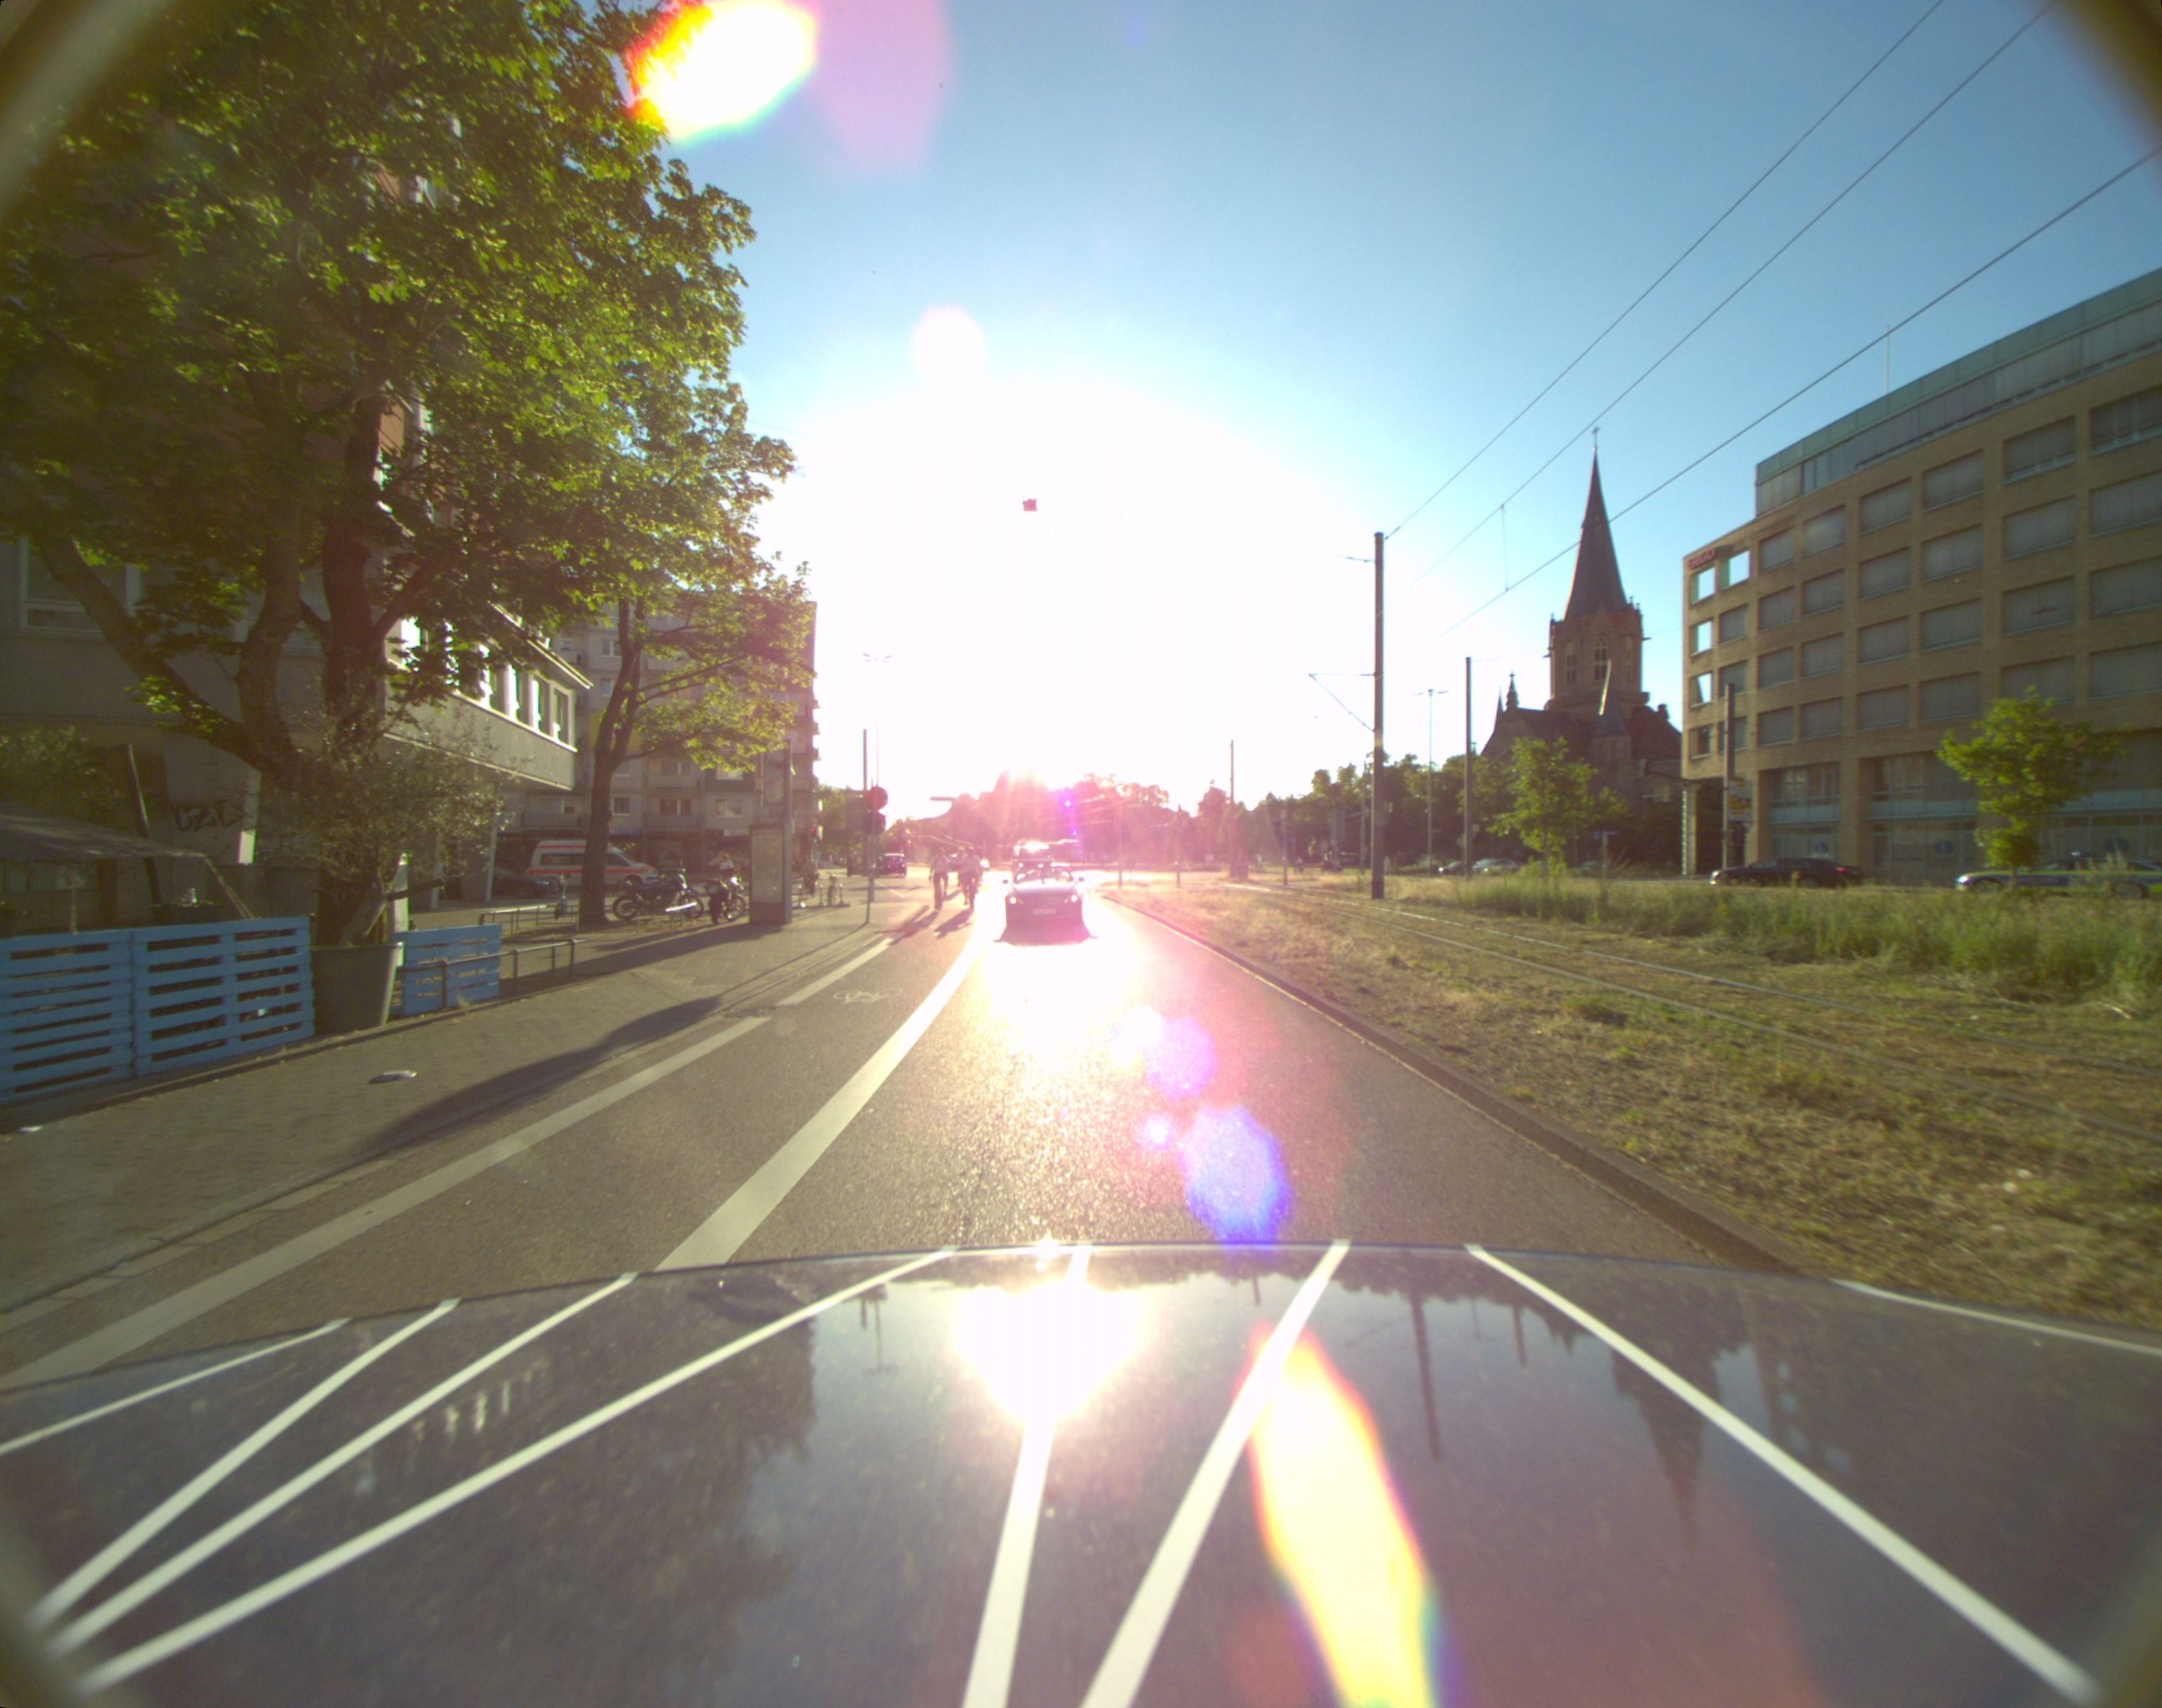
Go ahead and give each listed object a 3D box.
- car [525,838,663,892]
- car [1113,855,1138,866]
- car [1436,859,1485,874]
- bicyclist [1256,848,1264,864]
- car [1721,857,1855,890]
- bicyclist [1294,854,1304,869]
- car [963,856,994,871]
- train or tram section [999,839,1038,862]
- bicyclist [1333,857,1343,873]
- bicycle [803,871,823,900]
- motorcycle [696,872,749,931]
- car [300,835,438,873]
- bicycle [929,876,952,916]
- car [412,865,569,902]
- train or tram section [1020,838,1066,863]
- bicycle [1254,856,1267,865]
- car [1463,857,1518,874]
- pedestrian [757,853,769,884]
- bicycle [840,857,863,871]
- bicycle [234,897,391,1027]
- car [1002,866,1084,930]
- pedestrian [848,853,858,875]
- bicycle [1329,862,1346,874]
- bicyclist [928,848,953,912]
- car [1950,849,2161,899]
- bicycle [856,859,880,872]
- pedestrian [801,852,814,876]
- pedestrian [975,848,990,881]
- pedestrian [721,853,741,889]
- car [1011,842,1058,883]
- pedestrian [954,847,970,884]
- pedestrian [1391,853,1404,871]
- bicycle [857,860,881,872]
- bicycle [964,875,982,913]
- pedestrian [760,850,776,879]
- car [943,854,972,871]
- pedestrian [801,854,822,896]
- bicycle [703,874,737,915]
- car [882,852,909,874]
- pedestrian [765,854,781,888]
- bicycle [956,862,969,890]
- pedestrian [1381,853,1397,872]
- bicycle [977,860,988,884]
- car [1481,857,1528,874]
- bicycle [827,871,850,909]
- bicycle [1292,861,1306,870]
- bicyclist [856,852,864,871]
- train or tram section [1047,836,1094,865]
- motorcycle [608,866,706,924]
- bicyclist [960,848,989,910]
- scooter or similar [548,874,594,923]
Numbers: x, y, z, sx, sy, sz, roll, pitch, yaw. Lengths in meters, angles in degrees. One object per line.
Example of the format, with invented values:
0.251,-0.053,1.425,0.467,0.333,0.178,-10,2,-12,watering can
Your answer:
-23.192,0.475,36.452,5.272,2.468,1.922,0,0,-20,car
5.891,0.838,101.400,1.732,1.406,3.878,0,0,-25,car
35.956,1.166,72.040,4.004,1.412,1.899,0,0,-20,car
21.098,0.220,89.540,0.575,1.816,0.893,-2,1,-21,bicyclist
29.844,0.792,32.226,1.732,1.275,3.782,0,0,-20,car
23.320,0.799,81.425,0.575,1.671,0.893,-2,1,-21,bicyclist
-10.082,0.892,74.280,1.845,1.393,4.575,-3,1,-23,car
-10.319,-0.503,123.624,2.785,3.515,13.227,-1,0,-21,train or tram section
24.970,1.053,73.873,0.522,1.574,0.819,-2,1,-21,bicyclist
-10.397,1.209,29.491,0.522,0.975,1.847,0,2,-13,bicycle
-8.425,1.080,17.934,0.668,1.235,2.198,-1,0,-13,motorcycle
-31.098,0.001,33.312,4.089,1.561,1.594,0,0,-21,car
-4.041,1.186,21.976,0.577,1.022,1.855,-2,0,-9,bicycle
-23.913,1.166,30.986,4.680,1.333,1.837,0,0,-18,car
-5.687,-0.488,111.259,2.785,3.515,13.227,-1,0,-21,train or tram section
21.122,0.786,89.563,0.526,1.020,1.927,-3,1,-20,bicycle
35.243,0.988,65.350,4.003,1.412,1.900,0,0,-17,car
-17.374,0.784,41.532,0.571,1.691,0.811,0,0,-19,pedestrian
-20.266,0.899,67.096,1.876,1.119,0.606,2,-1,-24,bicycle
-8.071,1.073,8.072,0.422,1.151,1.753,0,-1,-18,bicycle
-0.952,0.979,18.580,1.776,1.300,4.239,0,0,-4,car
-17.360,0.756,57.871,0.664,1.694,1.070,0,0,-15,pedestrian
24.936,1.317,73.965,0.460,1.139,1.916,-2,1,-21,bicycle
-4.052,0.742,22.004,0.676,1.797,0.993,-1,1,-9,bicyclist
32.368,0.602,24.890,1.897,1.471,4.773,0,0,-21,car
-18.592,1.002,66.326,1.876,1.055,0.606,0,0,-22,bicycle
-17.962,0.666,49.923,0.684,1.580,0.745,0,0,-15,pedestrian
-4.964,0.510,38.219,0.679,1.639,0.901,-2,1,-9,pedestrian
-16.425,0.785,35.670,0.730,1.652,0.904,0,0,-19,pedestrian
-2.474,0.394,39.261,1.921,1.978,4.942,0,0,-9,car
-5.260,0.500,33.708,0.640,1.639,0.842,-2,1,-8,pedestrian
28.804,0.743,69.130,0.739,1.663,0.716,0,0,-17,pedestrian
-18.231,1.041,65.364,1.876,1.055,0.606,0,0,-22,bicycle
-3.240,1.163,22.720,0.480,1.022,1.980,-2,0,-9,bicycle
-18.674,0.622,45.394,0.786,1.691,1.025,0,0,-19,pedestrian
-13.474,0.950,82.623,1.959,1.702,4.842,-3,1,-22,car
-10.446,0.786,29.462,0.678,1.581,0.760,0,2,-14,pedestrian
-10.759,1.186,22.671,0.647,1.151,2.121,0,-1,-18,bicycle
-16.805,0.783,68.729,1.945,1.922,4.824,0,0,-20,car
-15.313,0.837,37.797,0.684,1.652,0.745,0,0,-19,pedestrian
-5.249,0.957,33.654,0.530,1.152,1.847,-2,1,-8,bicycle
27.969,0.765,69.001,0.739,1.663,1.103,0,0,-17,pedestrian
-4.976,0.883,38.319,0.530,1.152,1.847,-2,1,-8,bicycle
41.065,1.084,73.610,4.004,1.575,1.822,0,0,-20,car
-7.628,1.103,23.860,0.647,1.120,1.871,0,-1,-18,bicycle
23.333,1.226,81.339,0.460,1.020,1.927,-2,0,-20,bicycle
-21.743,0.749,74.757,0.745,1.797,1.384,-1,1,-18,bicyclist
-1.537,-0.430,100.135,2.785,3.515,10.552,-1,0,-21,train or tram section
-10.836,1.027,19.492,2.051,1.398,0.759,0,0,-12,motorcycle
-3.176,0.717,22.646,0.829,1.797,1.056,-1,1,-9,bicyclist
-13.454,1.158,20.084,0.416,1.247,1.183,0,0,0,scooter or similar
